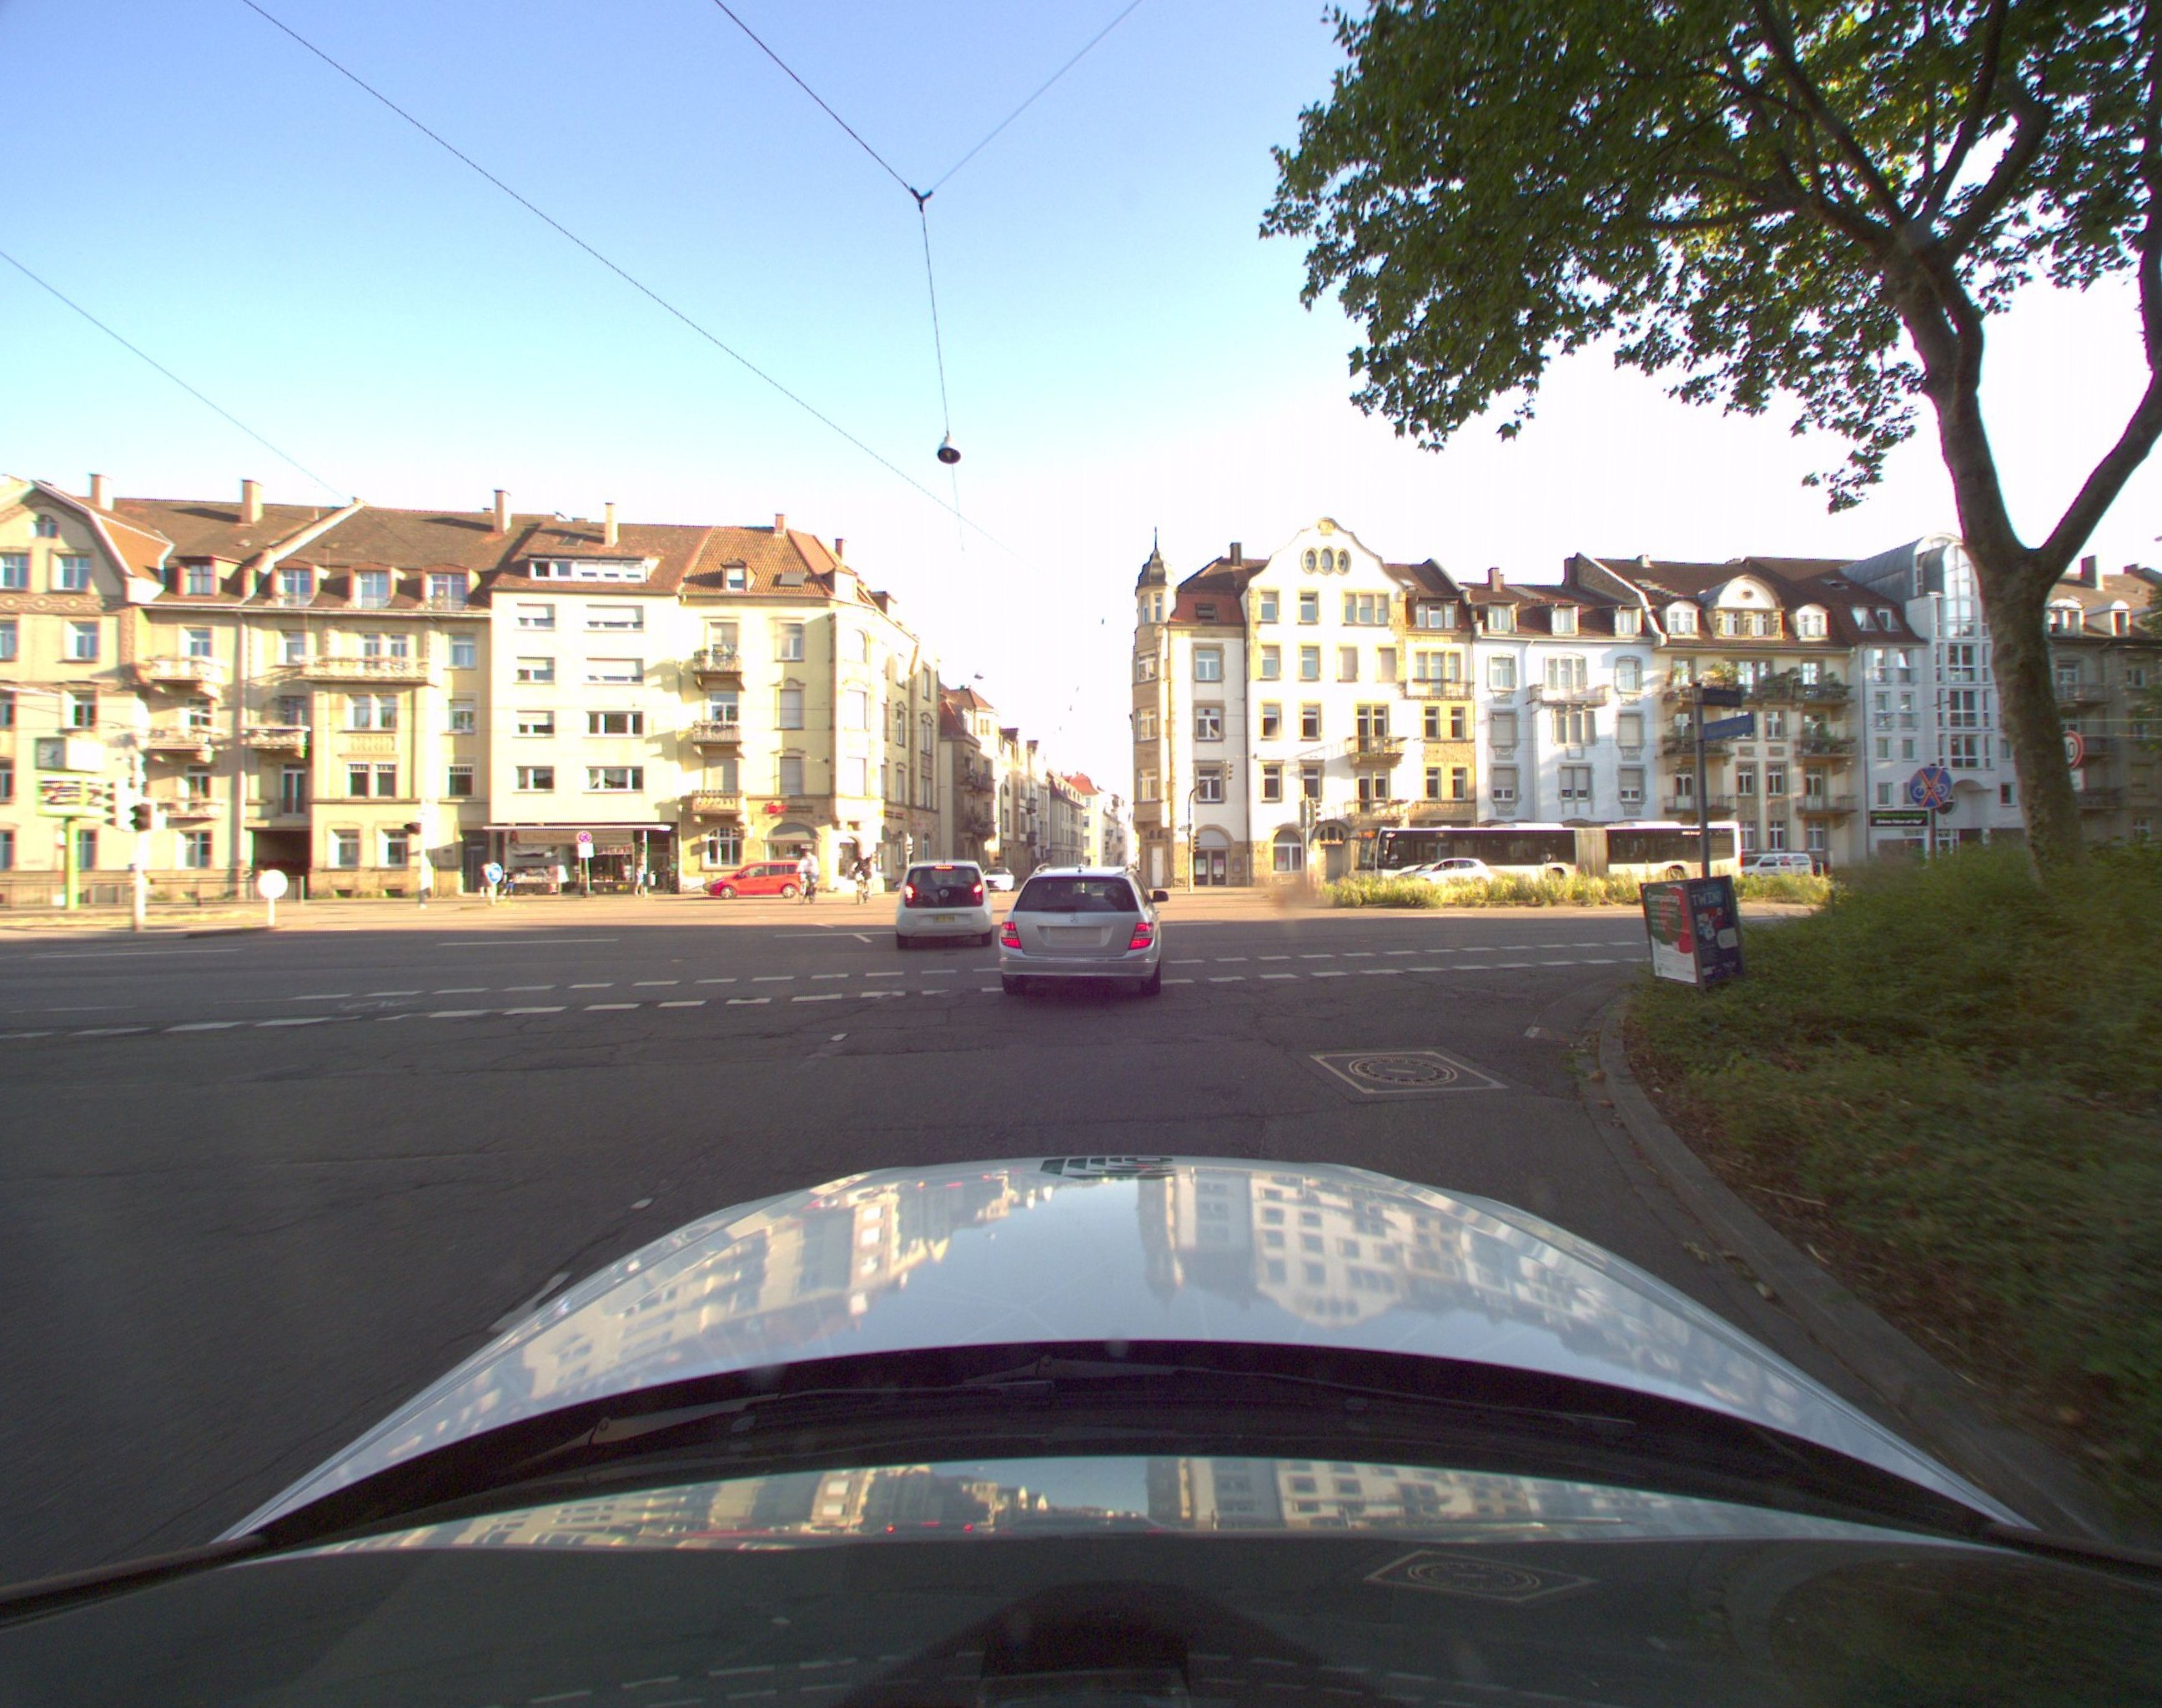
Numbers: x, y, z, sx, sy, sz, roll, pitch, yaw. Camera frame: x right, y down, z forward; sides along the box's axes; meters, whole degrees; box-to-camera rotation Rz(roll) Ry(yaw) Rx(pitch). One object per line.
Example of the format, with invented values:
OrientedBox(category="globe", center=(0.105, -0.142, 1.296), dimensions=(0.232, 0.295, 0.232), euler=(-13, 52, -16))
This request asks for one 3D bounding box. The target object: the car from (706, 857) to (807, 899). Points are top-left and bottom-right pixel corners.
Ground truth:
OrientedBox(category="car", center=(-15.264, 1.133, 38.539), dimensions=(4.310, 1.899, 1.908), euler=(1, -1, -21))

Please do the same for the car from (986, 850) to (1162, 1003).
OrientedBox(category="car", center=(0.105, 0.739, 10.065), dimensions=(1.724, 1.477, 4.177), euler=(0, -1, 5))

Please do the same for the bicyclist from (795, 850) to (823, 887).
OrientedBox(category="bicyclist", center=(-9.083, 0.479, 27.199), dimensions=(0.657, 1.236, 0.767), euler=(0, -1, -2))

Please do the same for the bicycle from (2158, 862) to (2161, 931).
OrientedBox(category="bicycle", center=(17.825, 0.656, 12.674), dimensions=(1.866, 1.068, 0.370), euler=(-1, -1, -7))

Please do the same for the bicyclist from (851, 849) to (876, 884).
OrientedBox(category="bicyclist", center=(-7.228, 0.422, 27.108), dimensions=(0.608, 1.158, 0.767), euler=(0, -1, -2))

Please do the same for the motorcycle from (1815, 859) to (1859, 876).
OrientedBox(category="motorcycle", center=(46.067, 0.805, 49.628), dimensions=(2.409, 1.021, 0.528), euler=(0, 2, -7))

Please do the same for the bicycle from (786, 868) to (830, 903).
OrientedBox(category="bicycle", center=(-9.083, 1.017, 27.197), dimensions=(0.649, 1.105, 2.550), euler=(0, -1, -1))

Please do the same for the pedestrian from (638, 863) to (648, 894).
OrientedBox(category="pedestrian", center=(-22.824, 1.281, 42.415), dimensions=(0.316, 1.580, 0.348), euler=(0, -1, 3))

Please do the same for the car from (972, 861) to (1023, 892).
OrientedBox(category="car", center=(-4.764, 1.269, 46.938), dimensions=(1.818, 1.706, 4.011), euler=(0, -1, 11))

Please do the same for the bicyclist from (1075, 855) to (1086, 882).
OrientedBox(category="bicyclist", center=(-0.025, 0.811, 44.868), dimensions=(0.608, 1.494, 0.767), euler=(0, -1, -2))

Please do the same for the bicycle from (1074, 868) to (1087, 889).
OrientedBox(category="bicycle", center=(-0.034, 1.327, 44.937), dimensions=(0.618, 1.105, 2.550), euler=(0, -1, -1))

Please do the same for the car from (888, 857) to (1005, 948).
OrientedBox(category="car", center=(-2.362, 0.818, 15.203), dimensions=(1.728, 1.480, 3.810), euler=(0, -1, -3))

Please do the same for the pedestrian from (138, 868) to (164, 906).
OrientedBox(category="pedestrian", center=(-45.341, 1.580, 39.692), dimensions=(0.474, 1.837, 0.640), euler=(0, -1, -3))

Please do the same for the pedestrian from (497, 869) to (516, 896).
OrientedBox(category="pedestrian", center=(-28.964, 1.427, 41.049), dimensions=(0.553, 1.362, 0.553), euler=(0, -1, -6))

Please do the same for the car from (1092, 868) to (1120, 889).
OrientedBox(category="car", center=(1.991, 1.933, 64.382), dimensions=(1.820, 1.615, 4.008), euler=(0, -1, 7))

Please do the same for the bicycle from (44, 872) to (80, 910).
OrientedBox(category="bicycle", center=(-47.534, 1.706, 37.997), dimensions=(0.883, 1.737, 0.560), euler=(0, -1, -2))

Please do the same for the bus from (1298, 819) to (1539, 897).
OrientedBox(category="bus", center=(15.295, 0.219, 37.342), dimensions=(9.850, 3.374, 3.270), euler=(0, -1, -5))

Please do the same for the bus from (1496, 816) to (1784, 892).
OrientedBox(category="bus", center=(26.188, 0.049, 38.426), dimensions=(11.920, 3.374, 3.259), euler=(0, -1, -6))

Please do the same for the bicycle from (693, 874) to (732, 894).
OrientedBox(category="bicycle", center=(-19.529, 1.568, 43.175), dimensions=(1.805, 1.028, 0.492), euler=(-1, -1, -7))

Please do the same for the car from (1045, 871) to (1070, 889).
OrientedBox(category="car", center=(-2.259, 2.547, 80.539), dimensions=(1.820, 1.615, 4.008), euler=(0, -1, 8))

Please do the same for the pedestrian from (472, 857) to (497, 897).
OrientedBox(category="pedestrian", center=(-29.894, 1.147, 40.798), dimensions=(0.664, 2.014, 0.770), euler=(0, -1, 3))

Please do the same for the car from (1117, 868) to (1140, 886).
OrientedBox(category="car", center=(4.675, 2.246, 80.259), dimensions=(1.819, 1.706, 4.010), euler=(0, -1, 9))

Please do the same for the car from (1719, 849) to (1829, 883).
OrientedBox(category="car", center=(38.299, 0.665, 45.079), dimensions=(4.629, 1.787, 1.907), euler=(0, -1, -4))

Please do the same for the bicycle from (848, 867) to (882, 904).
OrientedBox(category="bicycle", center=(-7.174, 1.029, 27.139), dimensions=(0.649, 1.105, 1.923), euler=(0, 1, -2))

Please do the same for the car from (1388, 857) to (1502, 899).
OrientedBox(category="car", center=(15.283, 0.988, 34.325), dimensions=(3.977, 1.684, 1.934), euler=(0, -1, -3))
